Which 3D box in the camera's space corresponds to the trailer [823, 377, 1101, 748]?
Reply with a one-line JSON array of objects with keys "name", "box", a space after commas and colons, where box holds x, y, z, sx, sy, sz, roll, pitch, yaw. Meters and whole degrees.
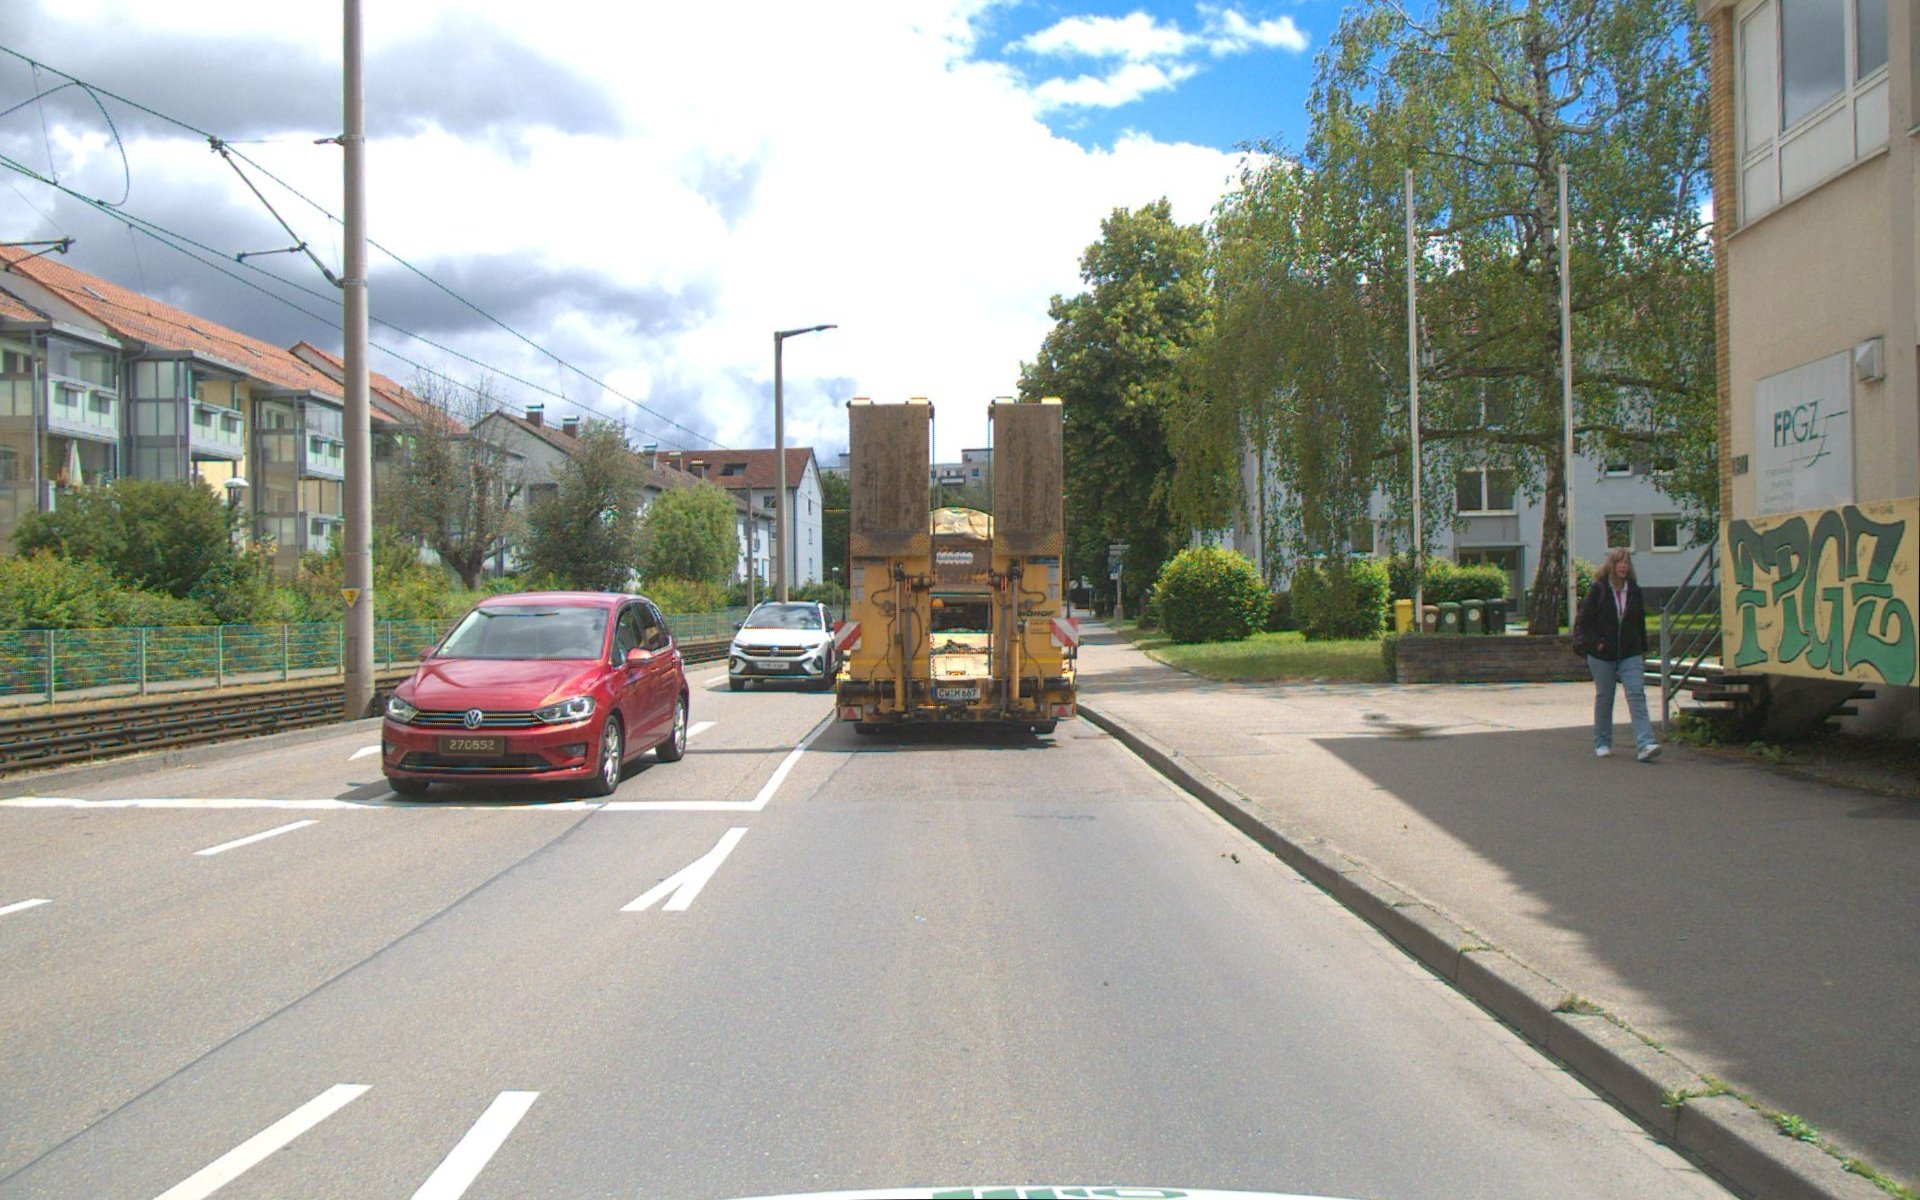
[{"name": "trailer", "box": [-0.099, -0.347, 22.852, 2.770, 3.710, 12.350, 1, 0, -1]}]

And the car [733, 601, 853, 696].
[{"name": "car", "box": [-2.942, 0.824, 29.817, 1.724, 1.579, 4.000, 0, 0, 0]}]

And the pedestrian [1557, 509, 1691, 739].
[{"name": "pedestrian", "box": [5.408, 0.196, 13.523, 0.792, 1.802, 0.817, -2, -1, 9]}]

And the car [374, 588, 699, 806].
[{"name": "car", "box": [-3.425, 0.719, 14.148, 1.629, 1.579, 4.001, 1, 0, 2]}]

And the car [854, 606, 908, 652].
[{"name": "car", "box": [-2.616, 0.954, 55.620, 1.595, 1.457, 4.167, 0, 0, 0]}]
